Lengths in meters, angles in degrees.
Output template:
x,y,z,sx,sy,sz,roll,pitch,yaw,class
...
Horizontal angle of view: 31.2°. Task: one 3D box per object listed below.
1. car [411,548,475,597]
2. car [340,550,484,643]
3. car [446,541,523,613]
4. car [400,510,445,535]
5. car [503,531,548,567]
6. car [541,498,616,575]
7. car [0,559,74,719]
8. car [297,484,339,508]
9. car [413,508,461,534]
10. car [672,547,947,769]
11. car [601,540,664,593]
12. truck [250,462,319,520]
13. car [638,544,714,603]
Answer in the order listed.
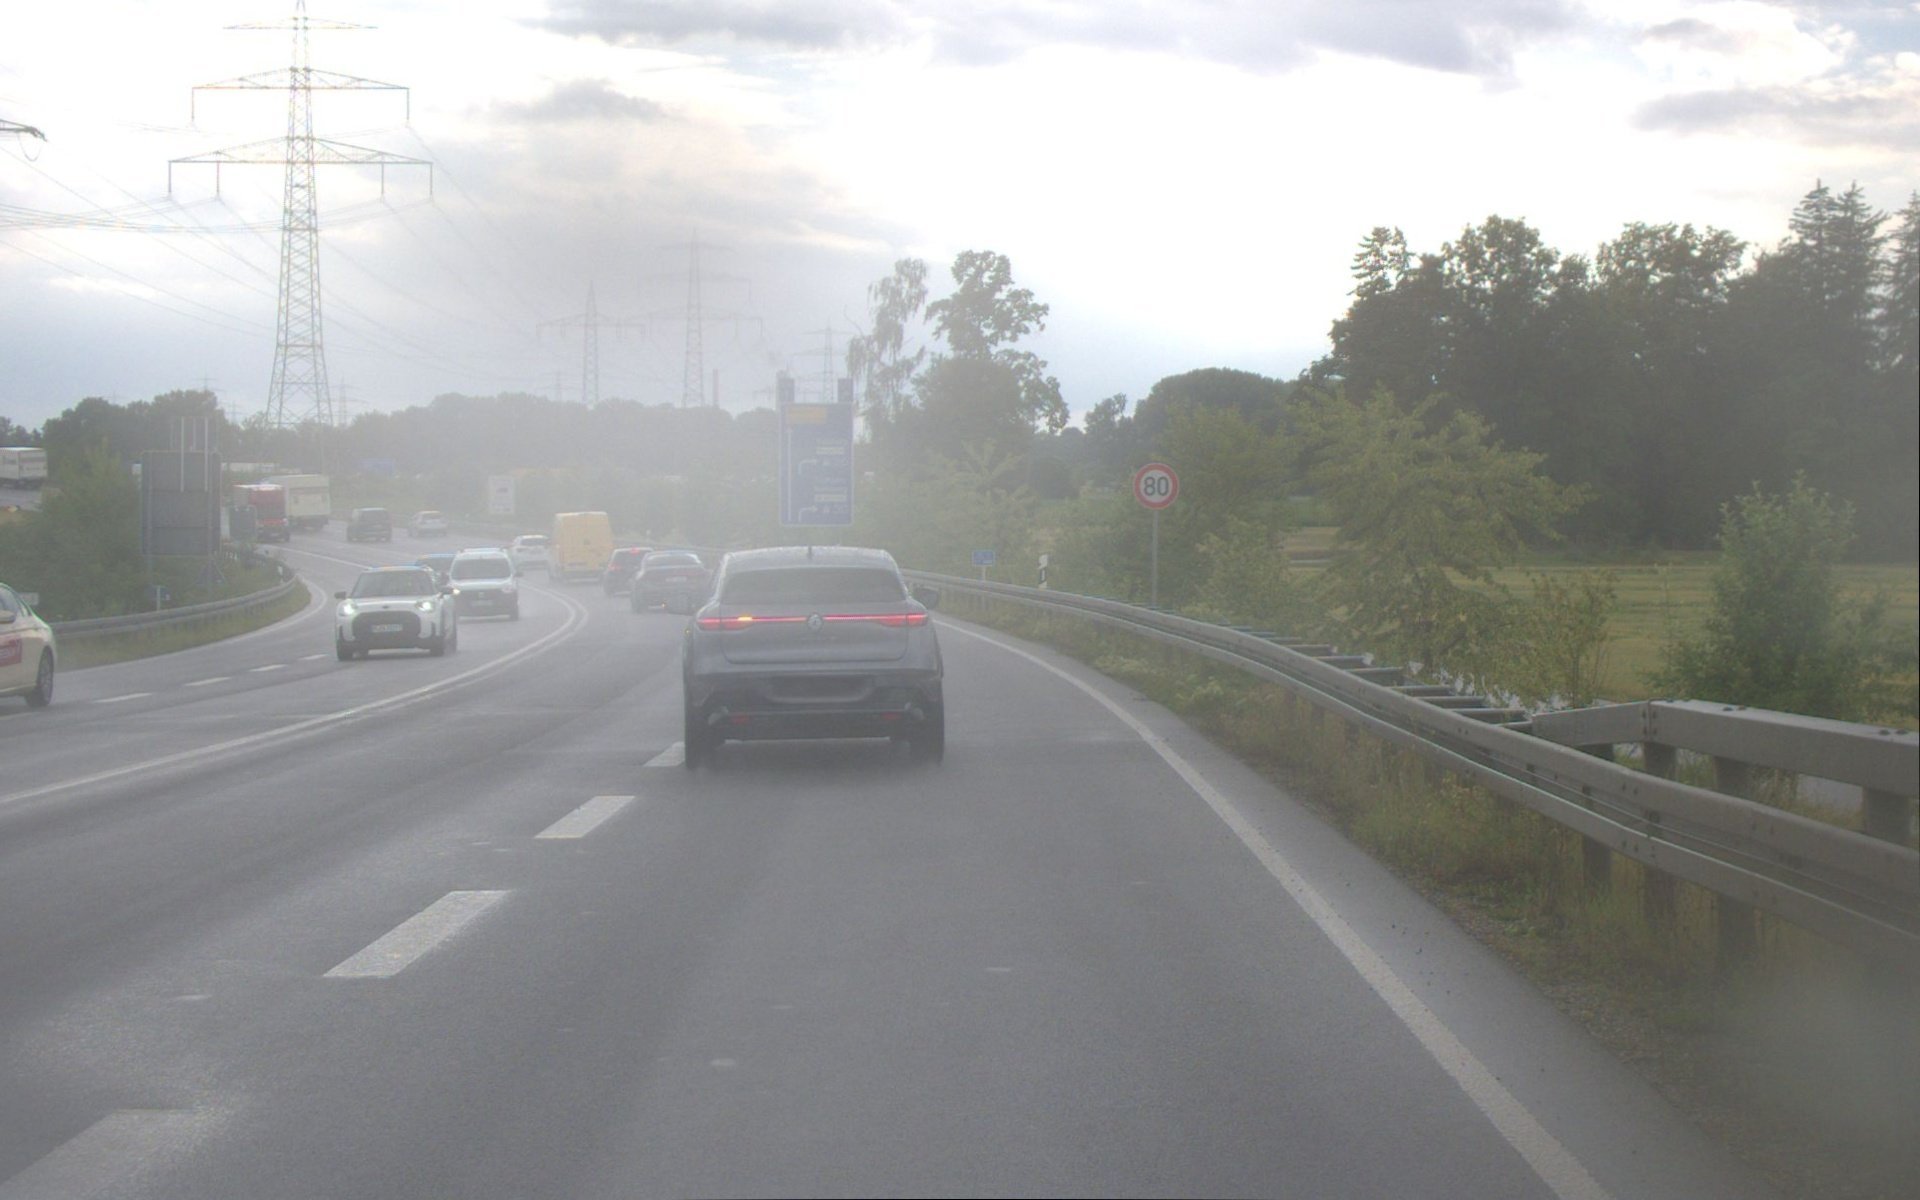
x,y,z,sx,sy,sz,roll,pitch,yaw,class
-16.374,-0.877,108.851,1.895,1.436,4.901,-3,1,-8,car
-9.206,-0.082,58.006,1.766,1.495,4.210,0,1,0,car
-11.650,-0.578,84.188,1.789,1.660,4.371,1,1,-8,car
-31.730,-4.585,202.945,1.791,1.436,4.001,2,1,-21,car
-18.433,-2.169,145.611,1.791,1.436,4.001,-1,1,-8,car
-13.751,-2.286,123.663,2.572,2.716,7.198,0,1,-7,car
-11.191,0.397,37.434,1.943,1.654,4.646,2,1,-1,car
-40.805,-6.587,218.360,1.791,1.436,4.001,-1,3,-23,car
-30.911,-4.683,203.074,1.791,1.436,4.001,2,1,-23,car
-1.021,0.354,24.629,1.791,1.436,4.000,-1,1,-1,car
-9.996,-1.039,104.628,1.791,1.536,4.001,2,1,-7,car
-40.336,-6.494,205.107,2.480,3.280,7.283,-4,2,-22,truck
-7.120,-0.676,85.985,1.791,1.436,4.001,0,1,-6,car
